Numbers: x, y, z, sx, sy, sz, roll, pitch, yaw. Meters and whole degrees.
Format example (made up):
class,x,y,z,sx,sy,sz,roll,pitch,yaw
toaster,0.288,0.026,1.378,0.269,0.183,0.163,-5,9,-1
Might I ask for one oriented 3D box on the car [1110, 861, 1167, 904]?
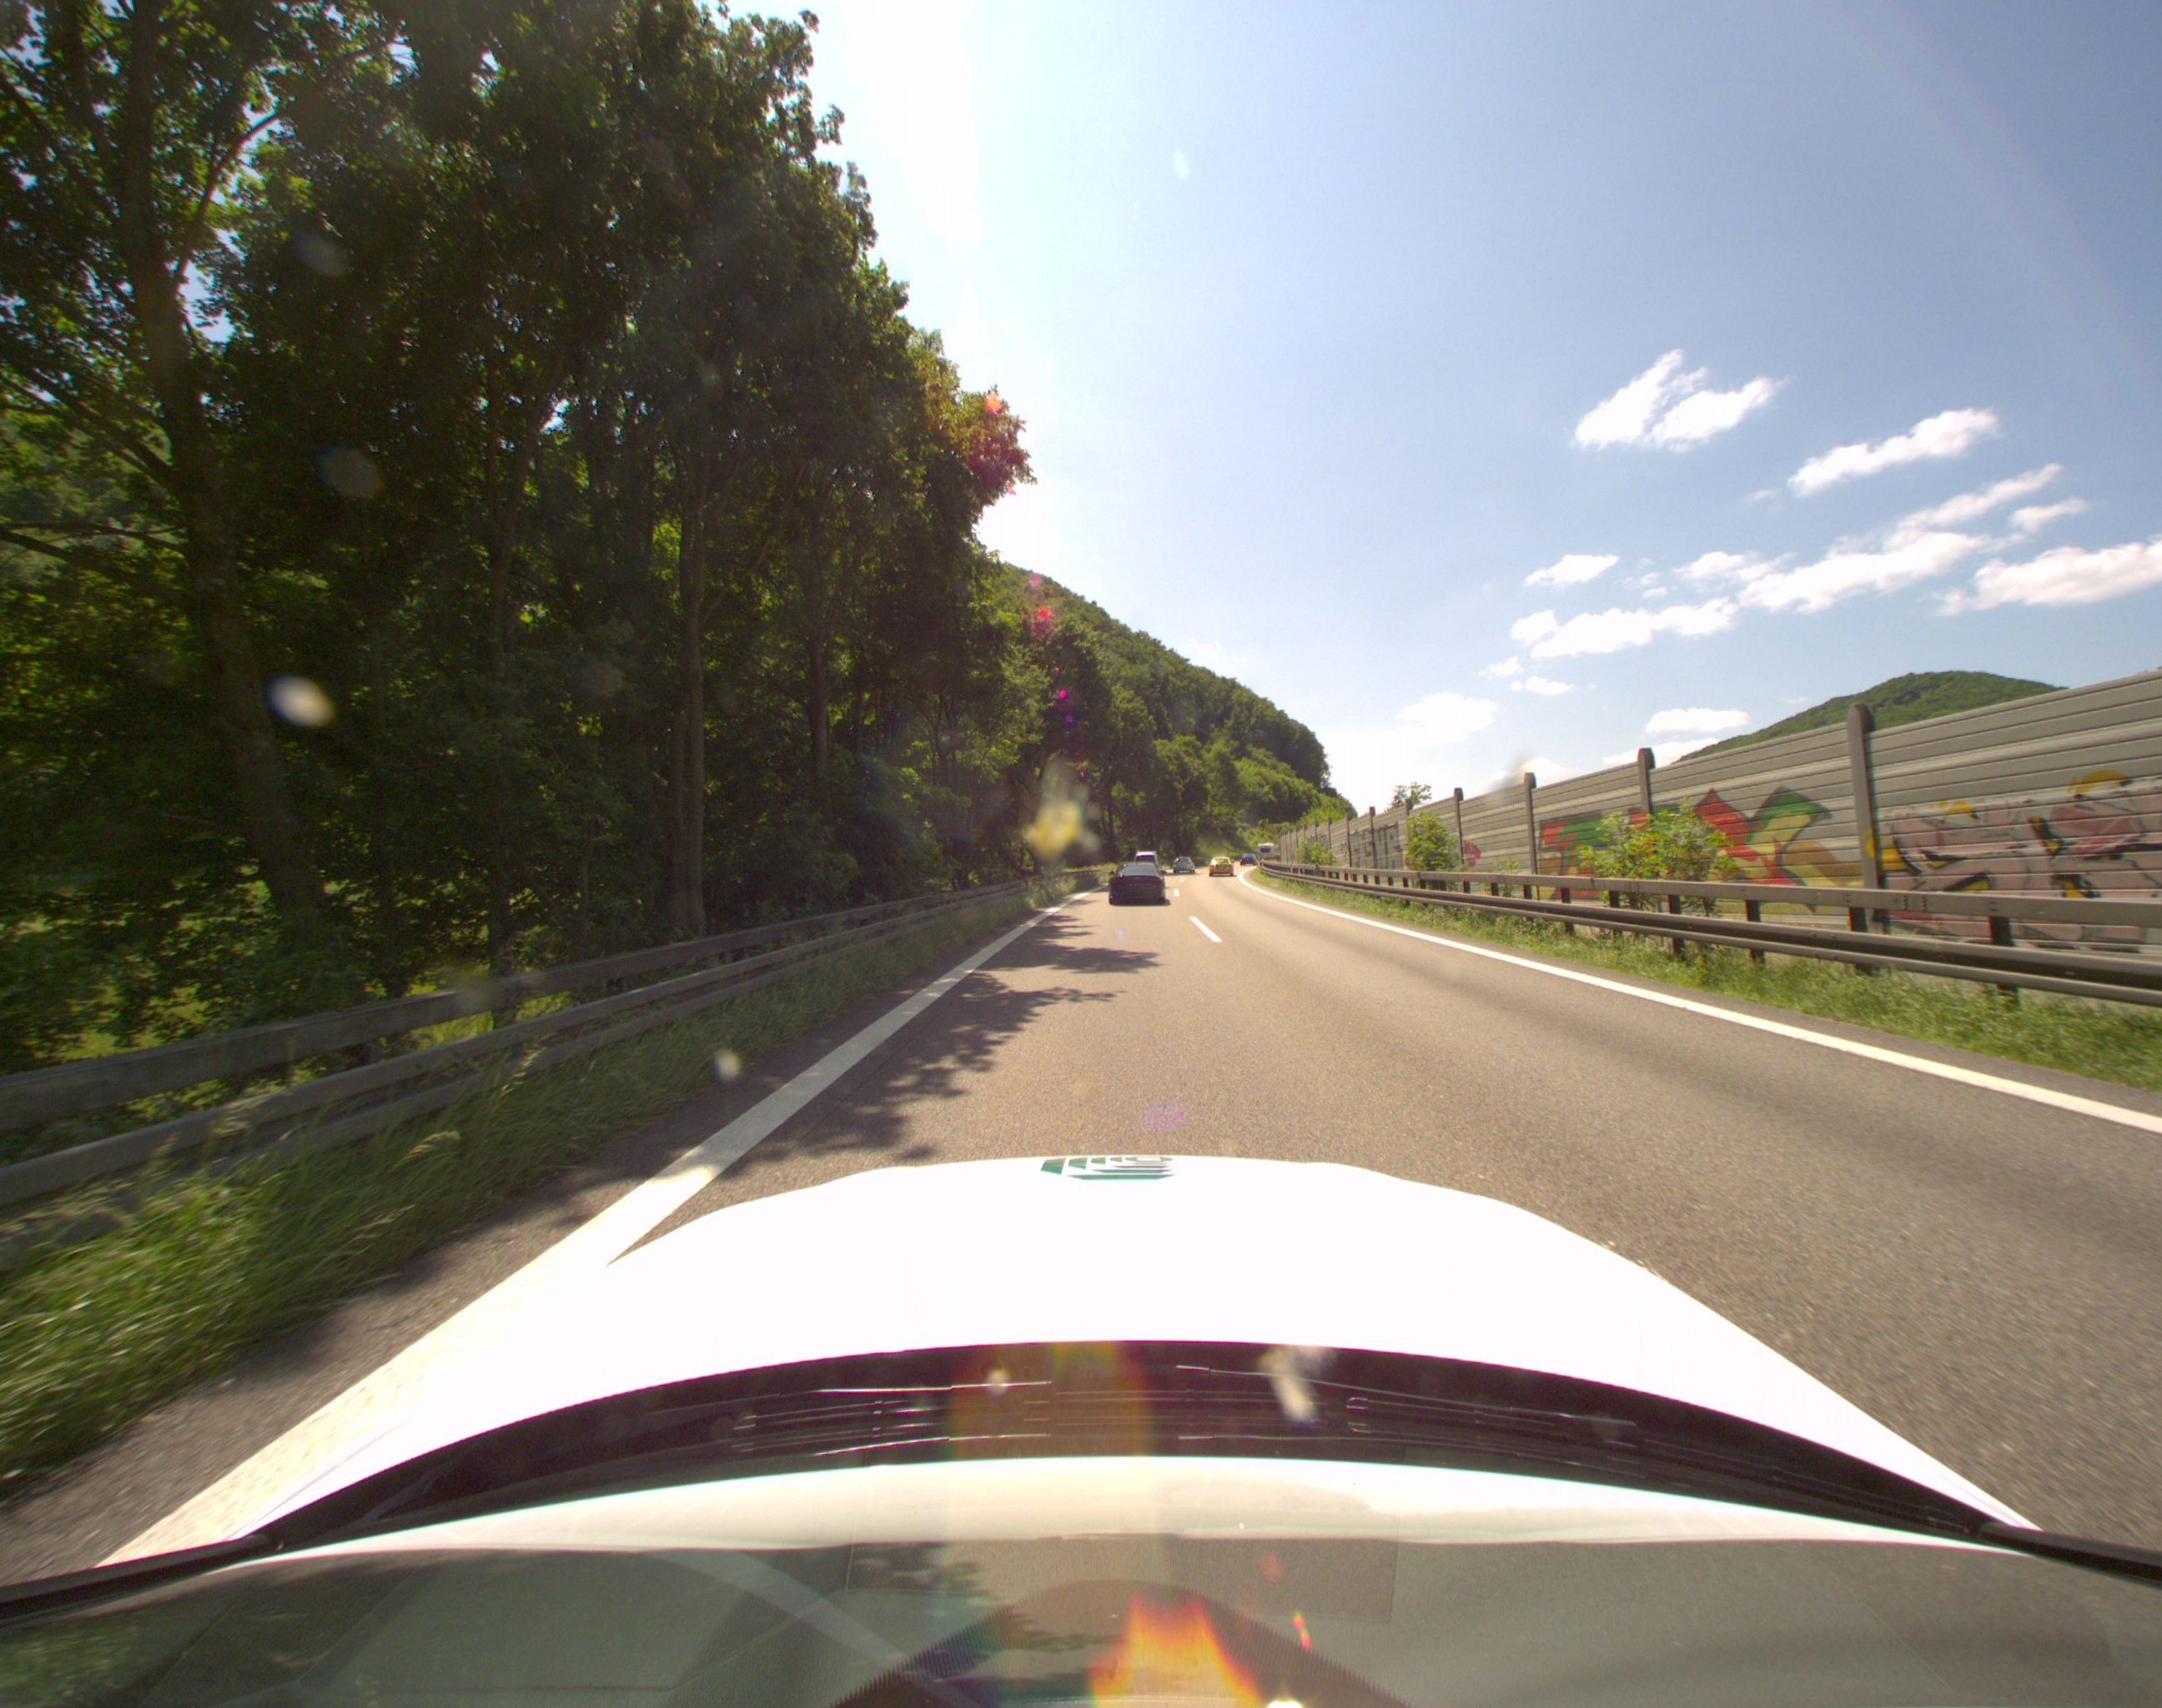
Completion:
class,x,y,z,sx,sy,sz,roll,pitch,yaw
car,1.920,0.953,28.116,1.830,1.349,4.001,0,-1,2

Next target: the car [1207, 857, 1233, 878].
class,x,y,z,sx,sy,sz,roll,pitch,yaw
car,10.619,0.990,61.915,1.851,1.488,4.011,-2,-1,10

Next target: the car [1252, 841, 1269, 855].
class,x,y,z,sx,sy,sz,roll,pitch,yaw
car,29.247,-1.005,132.390,1.978,2.013,4.019,-9,-1,18

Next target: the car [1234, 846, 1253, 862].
class,x,y,z,sx,sy,sz,roll,pitch,yaw
car,20.017,0.027,100.537,1.765,1.636,4.007,-9,-1,6

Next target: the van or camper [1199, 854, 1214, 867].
class,x,y,z,sx,sy,sz,roll,pitch,yaw
van or camper,16.222,0.830,105.398,1.550,1.534,3.510,-4,-1,5

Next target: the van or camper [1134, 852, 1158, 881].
class,x,y,z,sx,sy,sz,roll,pitch,yaw
van or camper,4.289,0.804,53.519,1.385,1.816,4.006,-2,-1,6

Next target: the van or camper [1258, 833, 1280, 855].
class,x,y,z,sx,sy,sz,roll,pitch,yaw
van or camper,27.585,-1.514,119.516,2.437,2.917,6.152,-9,-1,16

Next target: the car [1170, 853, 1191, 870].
class,x,y,z,sx,sy,sz,roll,pitch,yaw
car,8.908,0.699,72.884,1.737,1.431,4.008,-2,-1,7
